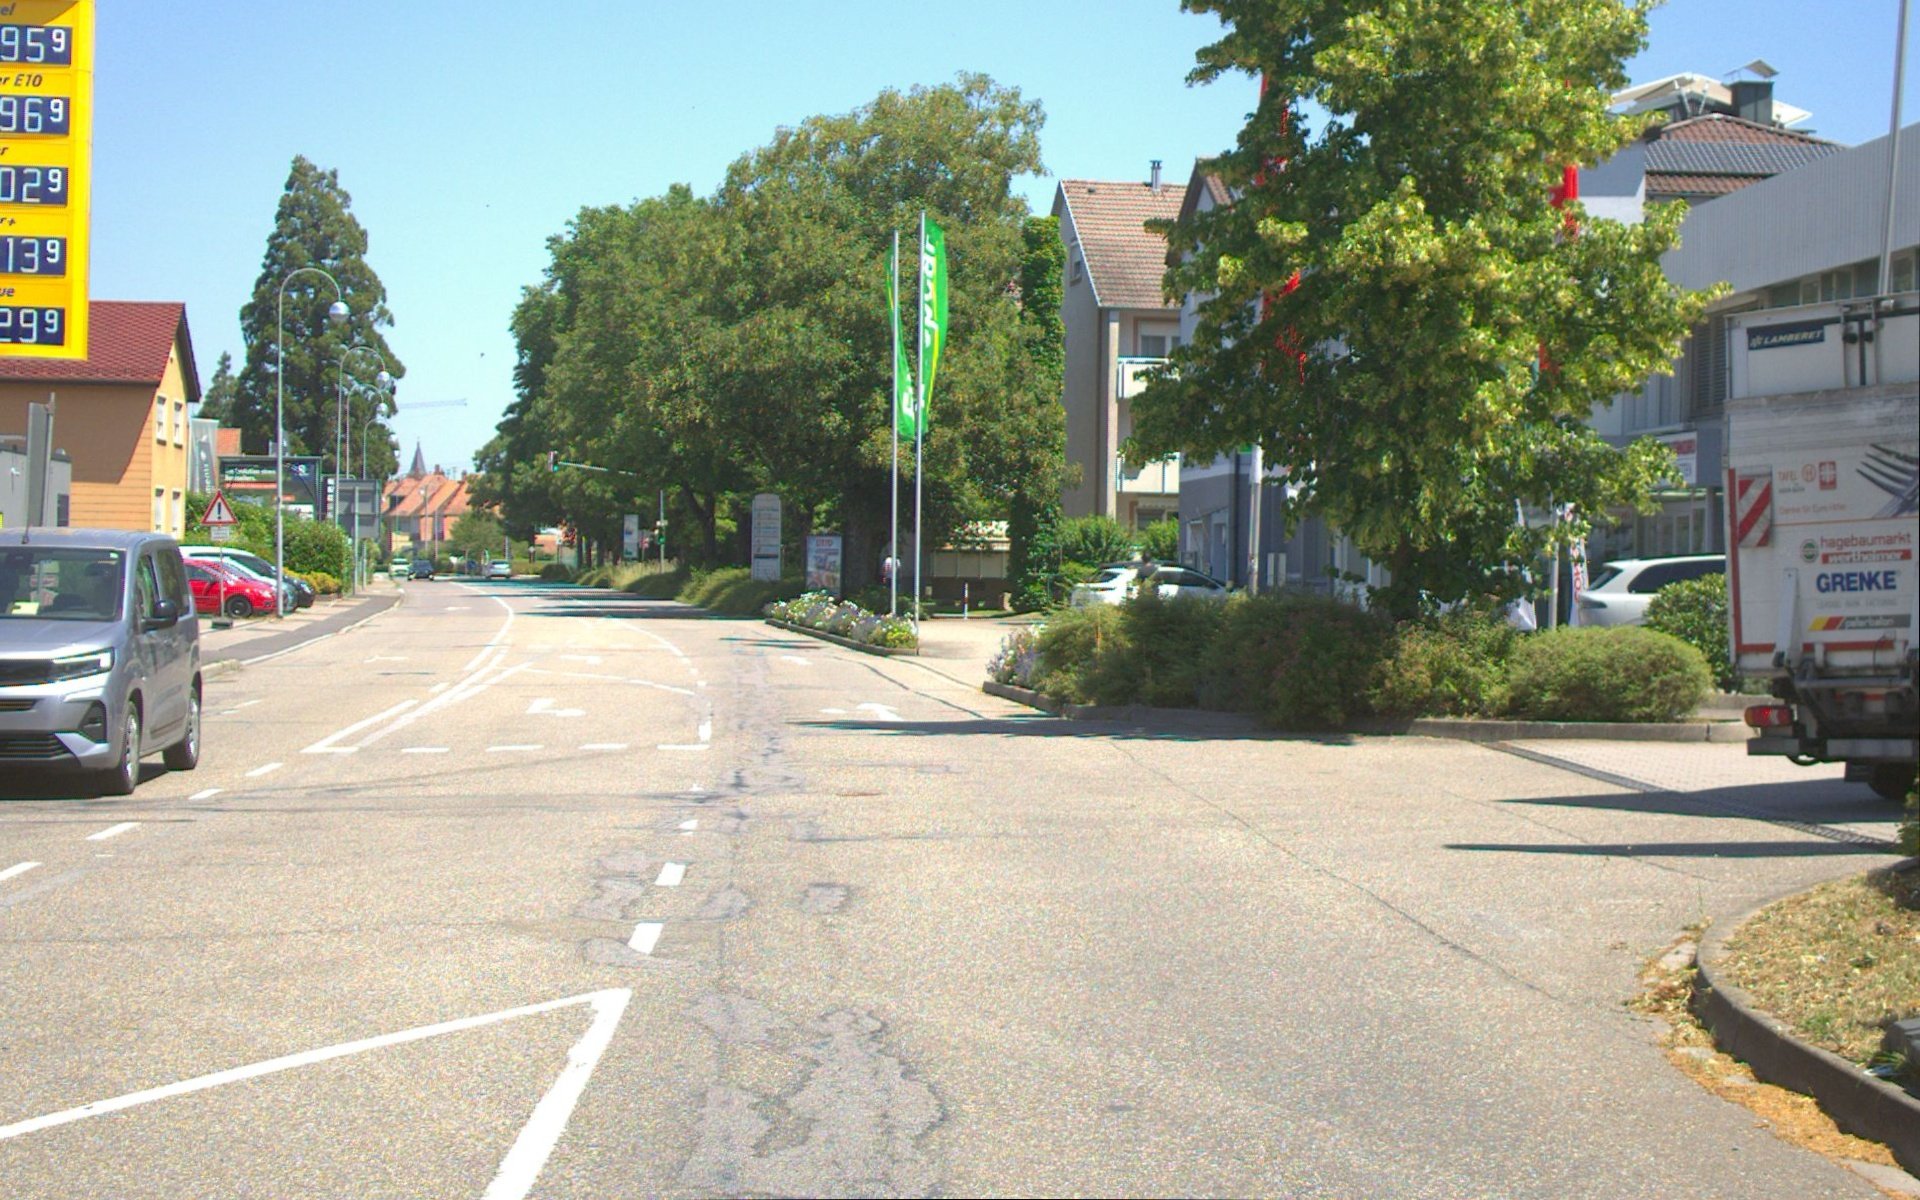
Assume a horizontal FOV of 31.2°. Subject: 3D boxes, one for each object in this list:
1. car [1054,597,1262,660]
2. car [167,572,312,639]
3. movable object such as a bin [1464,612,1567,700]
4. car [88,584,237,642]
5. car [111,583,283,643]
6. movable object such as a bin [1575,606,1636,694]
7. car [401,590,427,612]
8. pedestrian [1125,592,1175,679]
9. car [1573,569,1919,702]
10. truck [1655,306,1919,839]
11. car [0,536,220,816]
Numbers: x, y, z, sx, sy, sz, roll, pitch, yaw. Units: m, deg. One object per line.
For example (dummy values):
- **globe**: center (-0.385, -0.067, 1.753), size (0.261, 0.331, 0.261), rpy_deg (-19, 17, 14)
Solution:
- **car**: center (4.511, 0.658, 78.183), size (4.343, 1.366, 1.956), rpy_deg (1, -1, -30)
- **car**: center (-21.125, 0.179, 100.883), size (4.092, 1.892, 2.000), rpy_deg (1, -1, -12)
- **movable object such as a bin**: center (9.292, 0.936, 57.512), size (1.563, 1.418, 0.702), rpy_deg (-2, 0, 0)
- **car**: center (-20.781, 0.337, 89.708), size (3.663, 1.452, 1.893), rpy_deg (1, -1, -9)
- **car**: center (-19.349, 0.331, 87.309), size (4.125, 1.439, 1.827), rpy_deg (1, -1, -8)
- **movable object such as a bin**: center (10.794, 0.830, 57.513), size (0.853, 1.440, 0.702), rpy_deg (-2, -1, 0)
- **car**: center (-38.583, 0.090, 242.942), size (1.709, 1.490, 4.278), rpy_deg (0, 1, -8)
- **pedestrian**: center (3.616, 0.676, 65.506), size (0.840, 1.636, 1.010), rpy_deg (1, -1, -3)
- **car**: center (10.229, 0.445, 44.138), size (4.584, 1.636, 1.999), rpy_deg (0, -1, 12)
- **truck**: center (7.254, -0.123, 21.263), size (5.935, 2.939, 2.422), rpy_deg (1, 0, -37)
- **car**: center (-6.402, 0.472, 23.943), size (1.795, 1.766, 4.365), rpy_deg (1, 0, -4)
